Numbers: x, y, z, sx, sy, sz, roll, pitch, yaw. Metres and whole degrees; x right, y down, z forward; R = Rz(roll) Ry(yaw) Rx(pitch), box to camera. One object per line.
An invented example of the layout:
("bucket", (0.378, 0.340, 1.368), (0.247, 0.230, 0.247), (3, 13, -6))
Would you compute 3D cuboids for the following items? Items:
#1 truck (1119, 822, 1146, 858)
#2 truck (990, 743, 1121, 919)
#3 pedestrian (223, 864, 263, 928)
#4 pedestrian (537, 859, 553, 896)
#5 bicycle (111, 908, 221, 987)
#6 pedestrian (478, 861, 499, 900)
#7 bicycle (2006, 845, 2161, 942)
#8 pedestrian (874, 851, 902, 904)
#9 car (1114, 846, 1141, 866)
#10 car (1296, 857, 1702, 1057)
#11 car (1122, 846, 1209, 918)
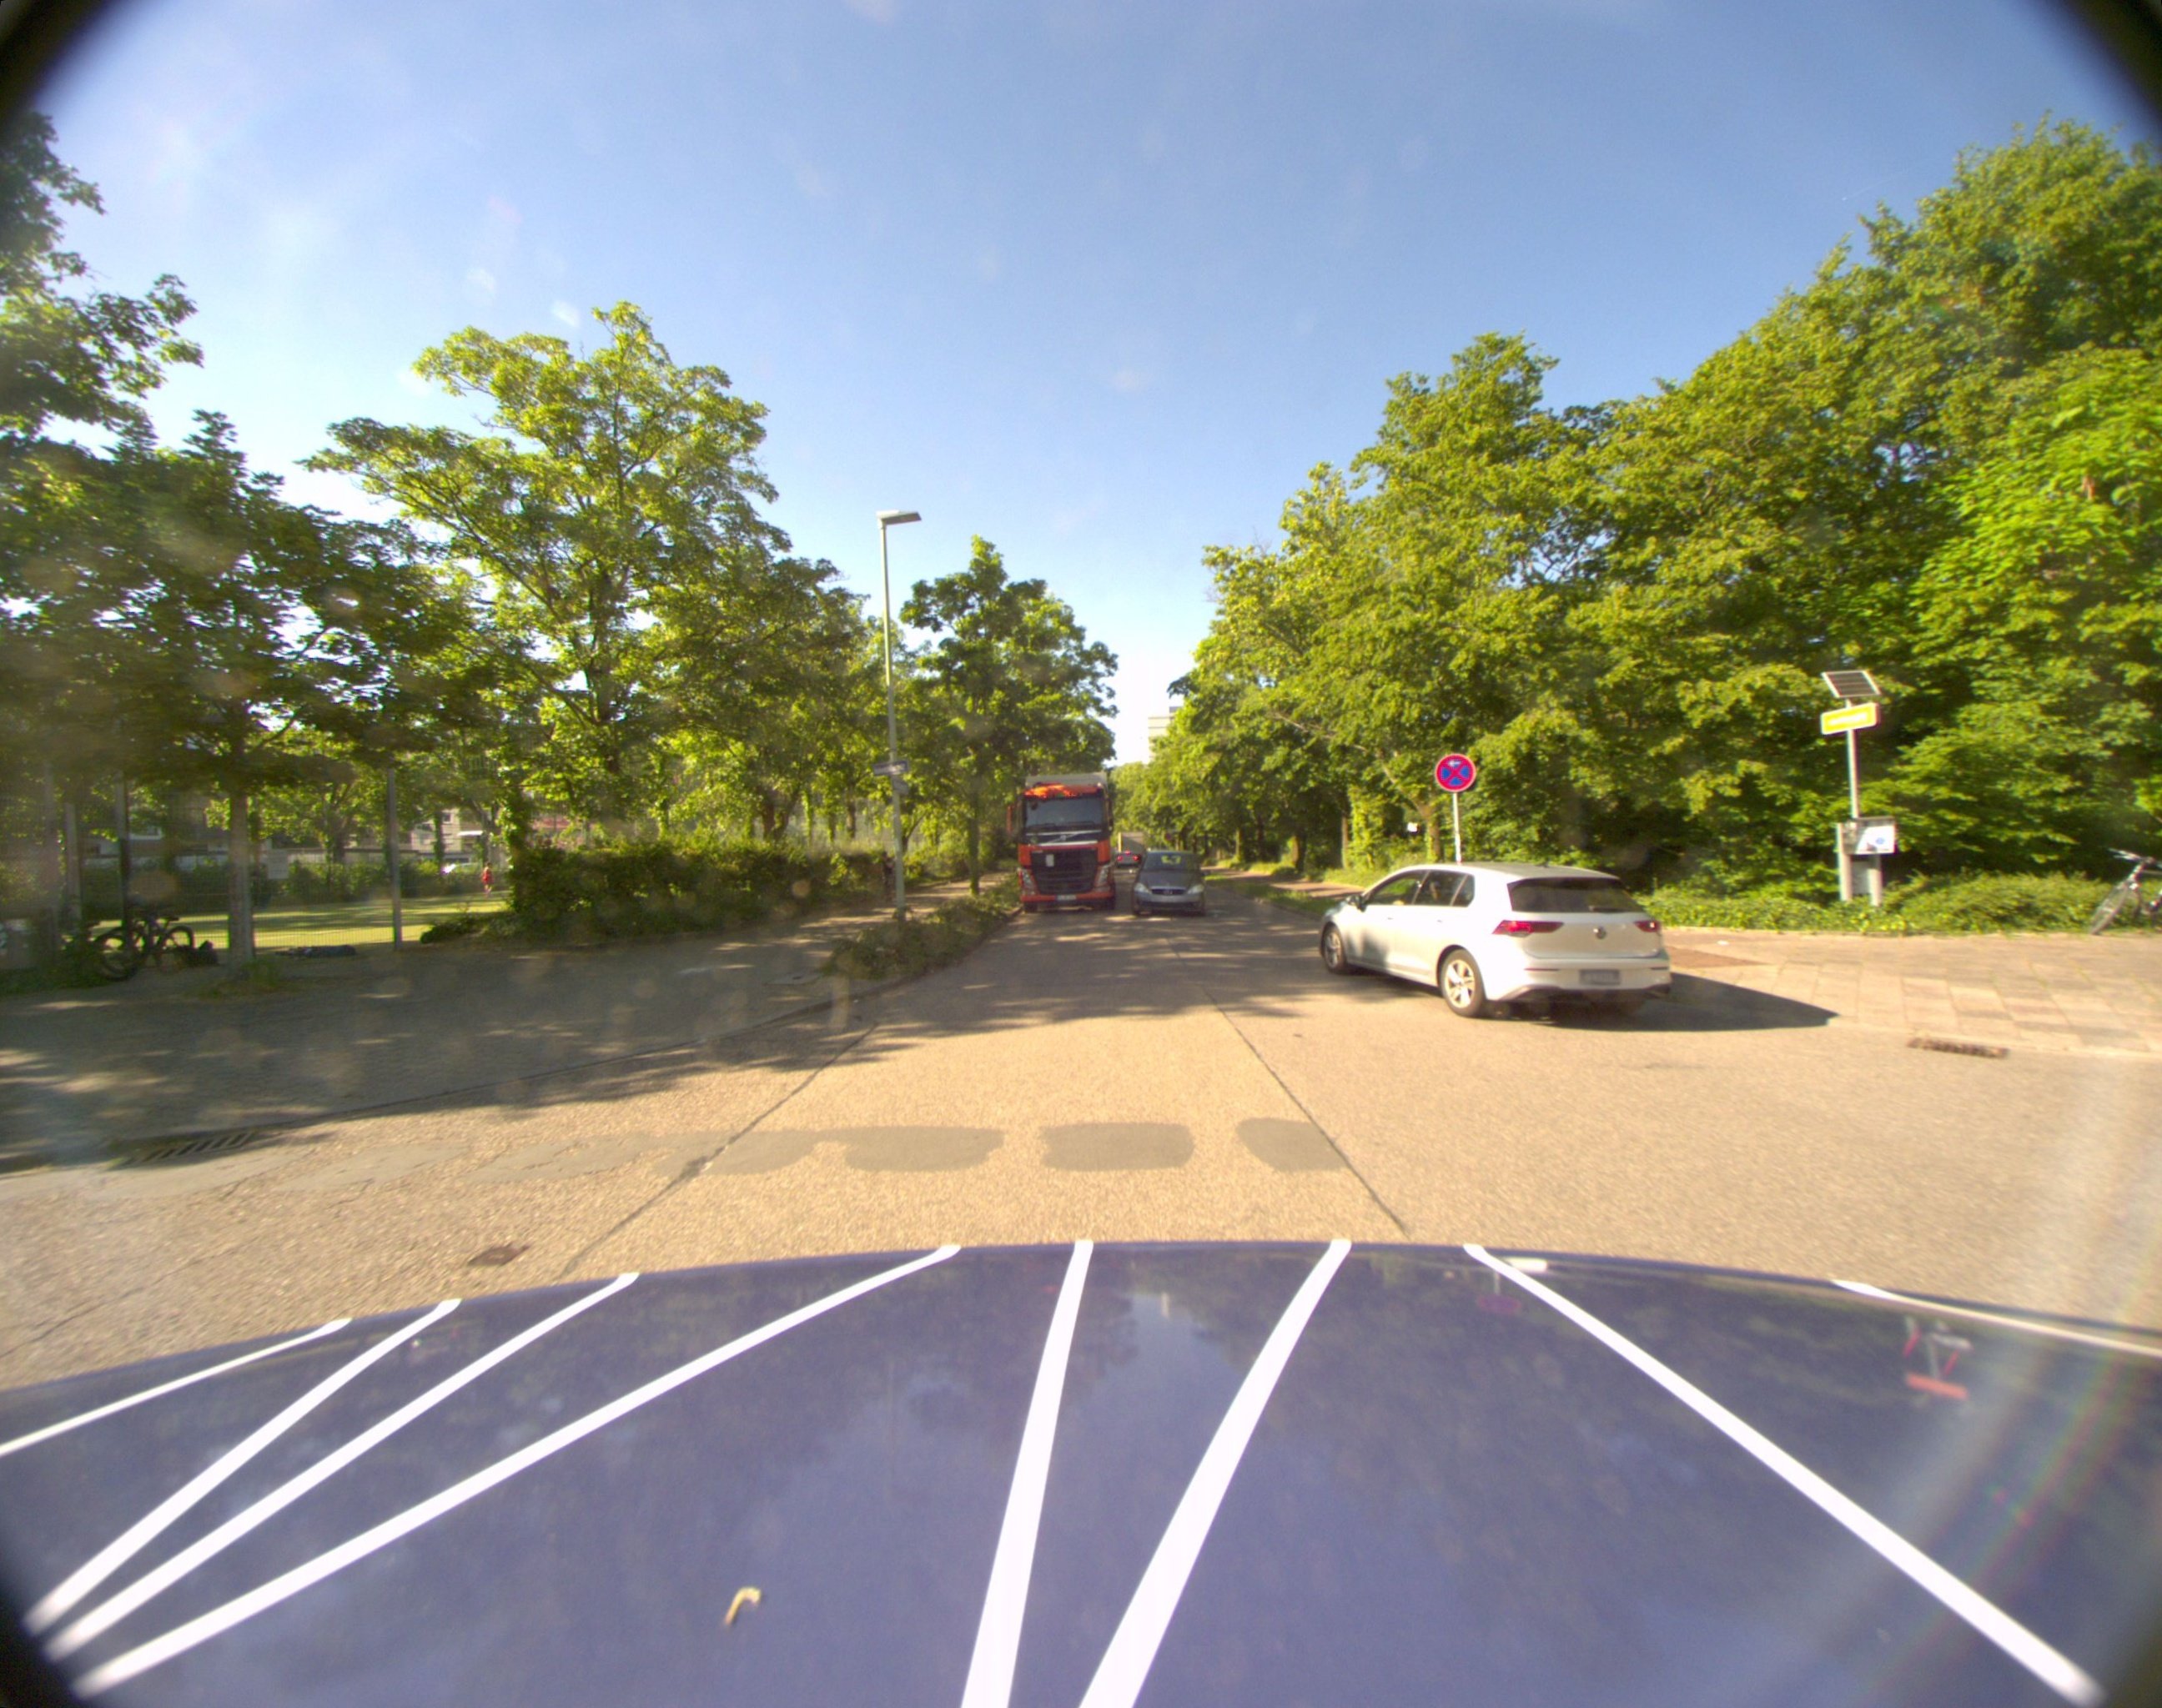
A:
("truck", (5.962, -1.694, 88.880), (2.803, 3.996, 9.624), (0, 2, 2))
("truck", (-0.447, -0.631, 24.382), (3.166, 4.320, 10.583), (-1, 1, 2))
("pedestrian", (-20.321, 1.017, 18.427), (0.437, 1.527, 0.429), (-2, 1, -3))
("pedestrian", (-22.105, 0.966, 31.332), (0.320, 1.527, 0.393), (-2, 1, -3))
("bicycle", (-12.356, 1.247, 10.286), (0.294, 0.953, 0.909), (0, 1, 43))
("pedestrian", (-23.385, 1.046, 29.998), (0.437, 1.527, 0.429), (-2, 1, -3))
("bicycle", (13.503, 0.493, 9.797), (1.902, 1.146, 0.760), (-1, 4, 12))
("pedestrian", (-6.117, 0.729, 24.075), (0.641, 1.629, 0.641), (-1, 1, 4))
("car", (3.873, 0.150, 63.563), (1.998, 1.576, 3.999), (-2, 1, 1))
("car", (4.020, 0.838, 8.268), (1.667, 1.458, 4.184), (0, 2, -8))
("car", (2.257, 0.643, 19.349), (1.853, 1.635, 3.759), (-1, 0, 11))
